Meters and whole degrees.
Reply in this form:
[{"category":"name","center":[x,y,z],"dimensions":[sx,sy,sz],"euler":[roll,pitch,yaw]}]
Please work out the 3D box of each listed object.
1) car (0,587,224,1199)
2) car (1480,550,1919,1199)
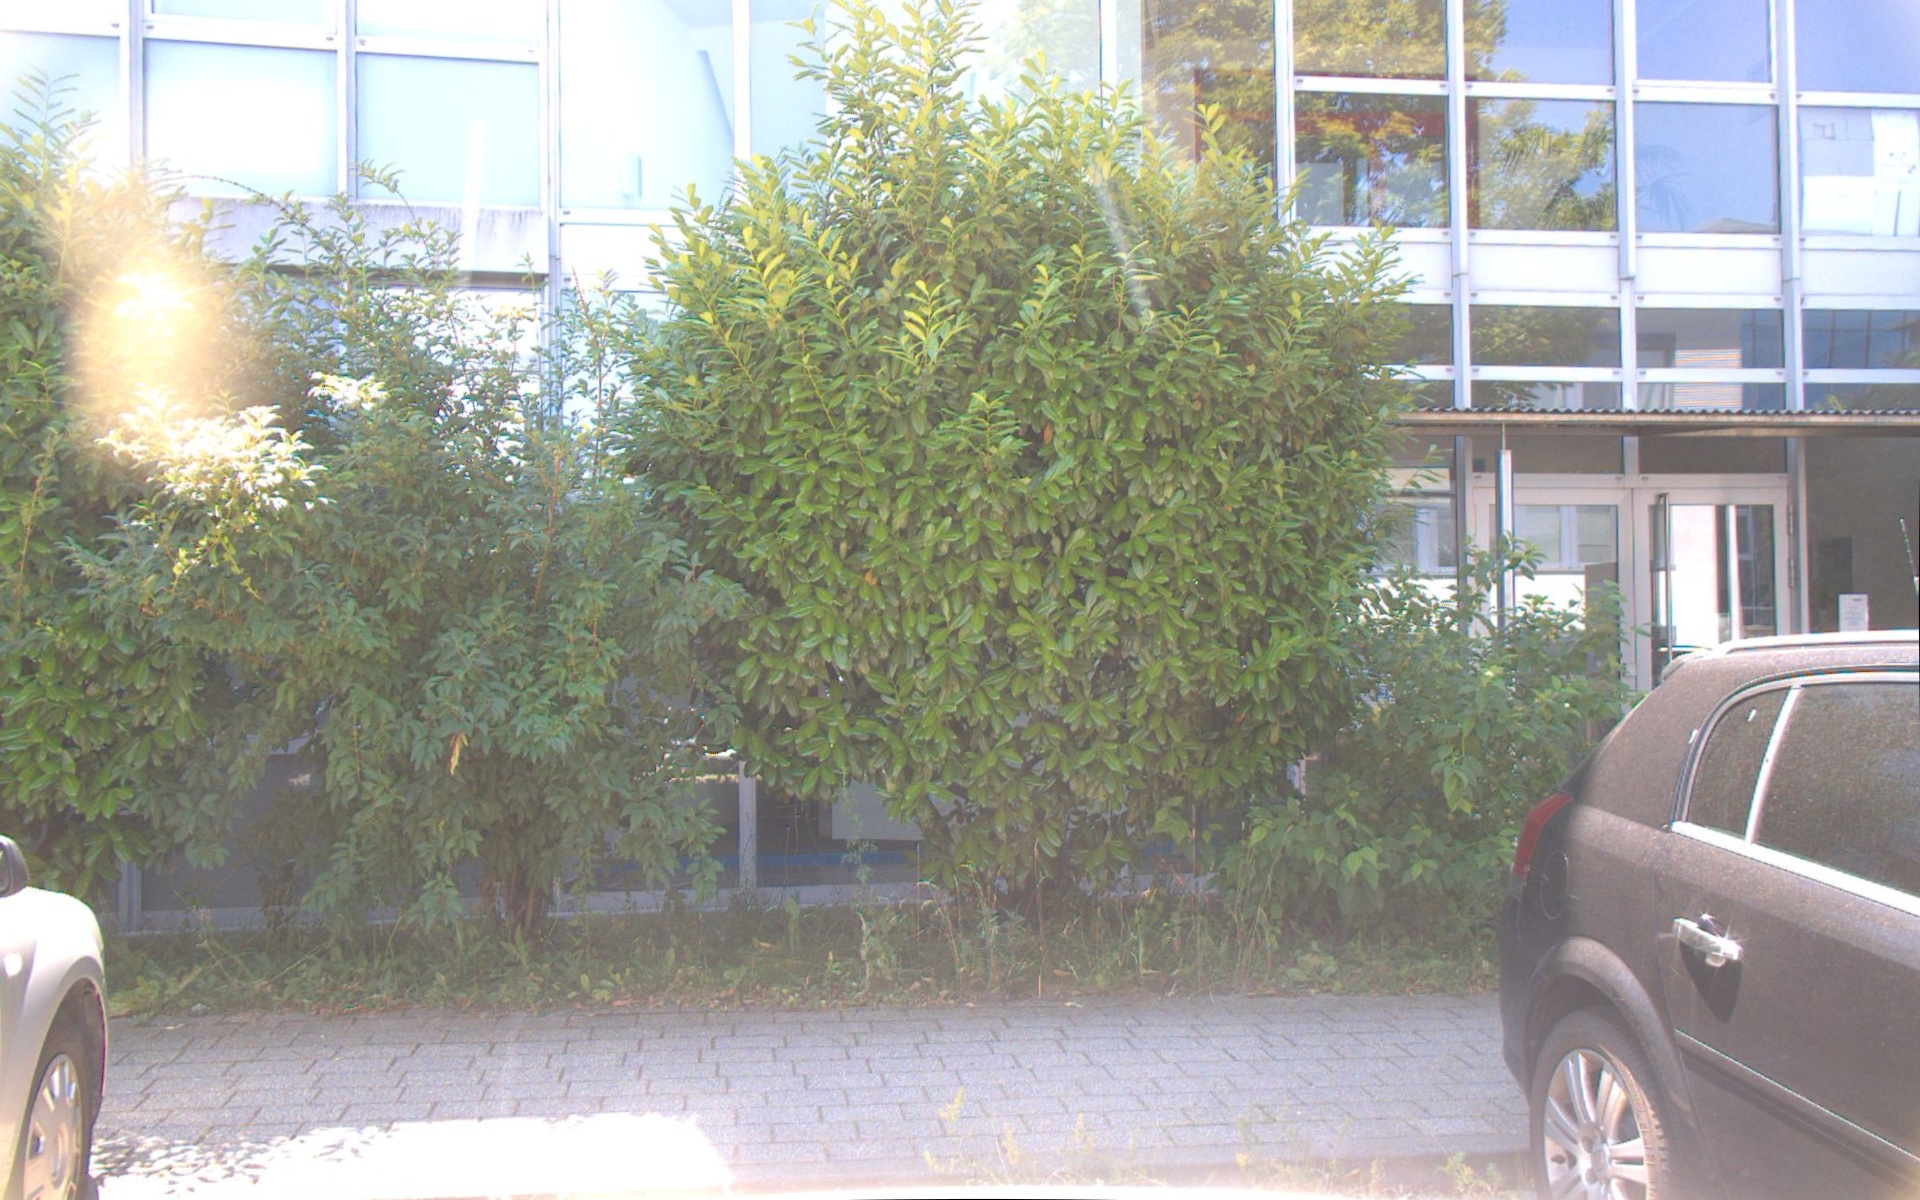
[{"category":"car","center":[-2.346,0.710,1.952],"dimensions":[1.688,1.505,4.337],"euler":[1,-1,-10]},{"category":"car","center":[2.457,0.709,2.195],"dimensions":[1.724,1.576,4.559],"euler":[1,-1,-6]}]
